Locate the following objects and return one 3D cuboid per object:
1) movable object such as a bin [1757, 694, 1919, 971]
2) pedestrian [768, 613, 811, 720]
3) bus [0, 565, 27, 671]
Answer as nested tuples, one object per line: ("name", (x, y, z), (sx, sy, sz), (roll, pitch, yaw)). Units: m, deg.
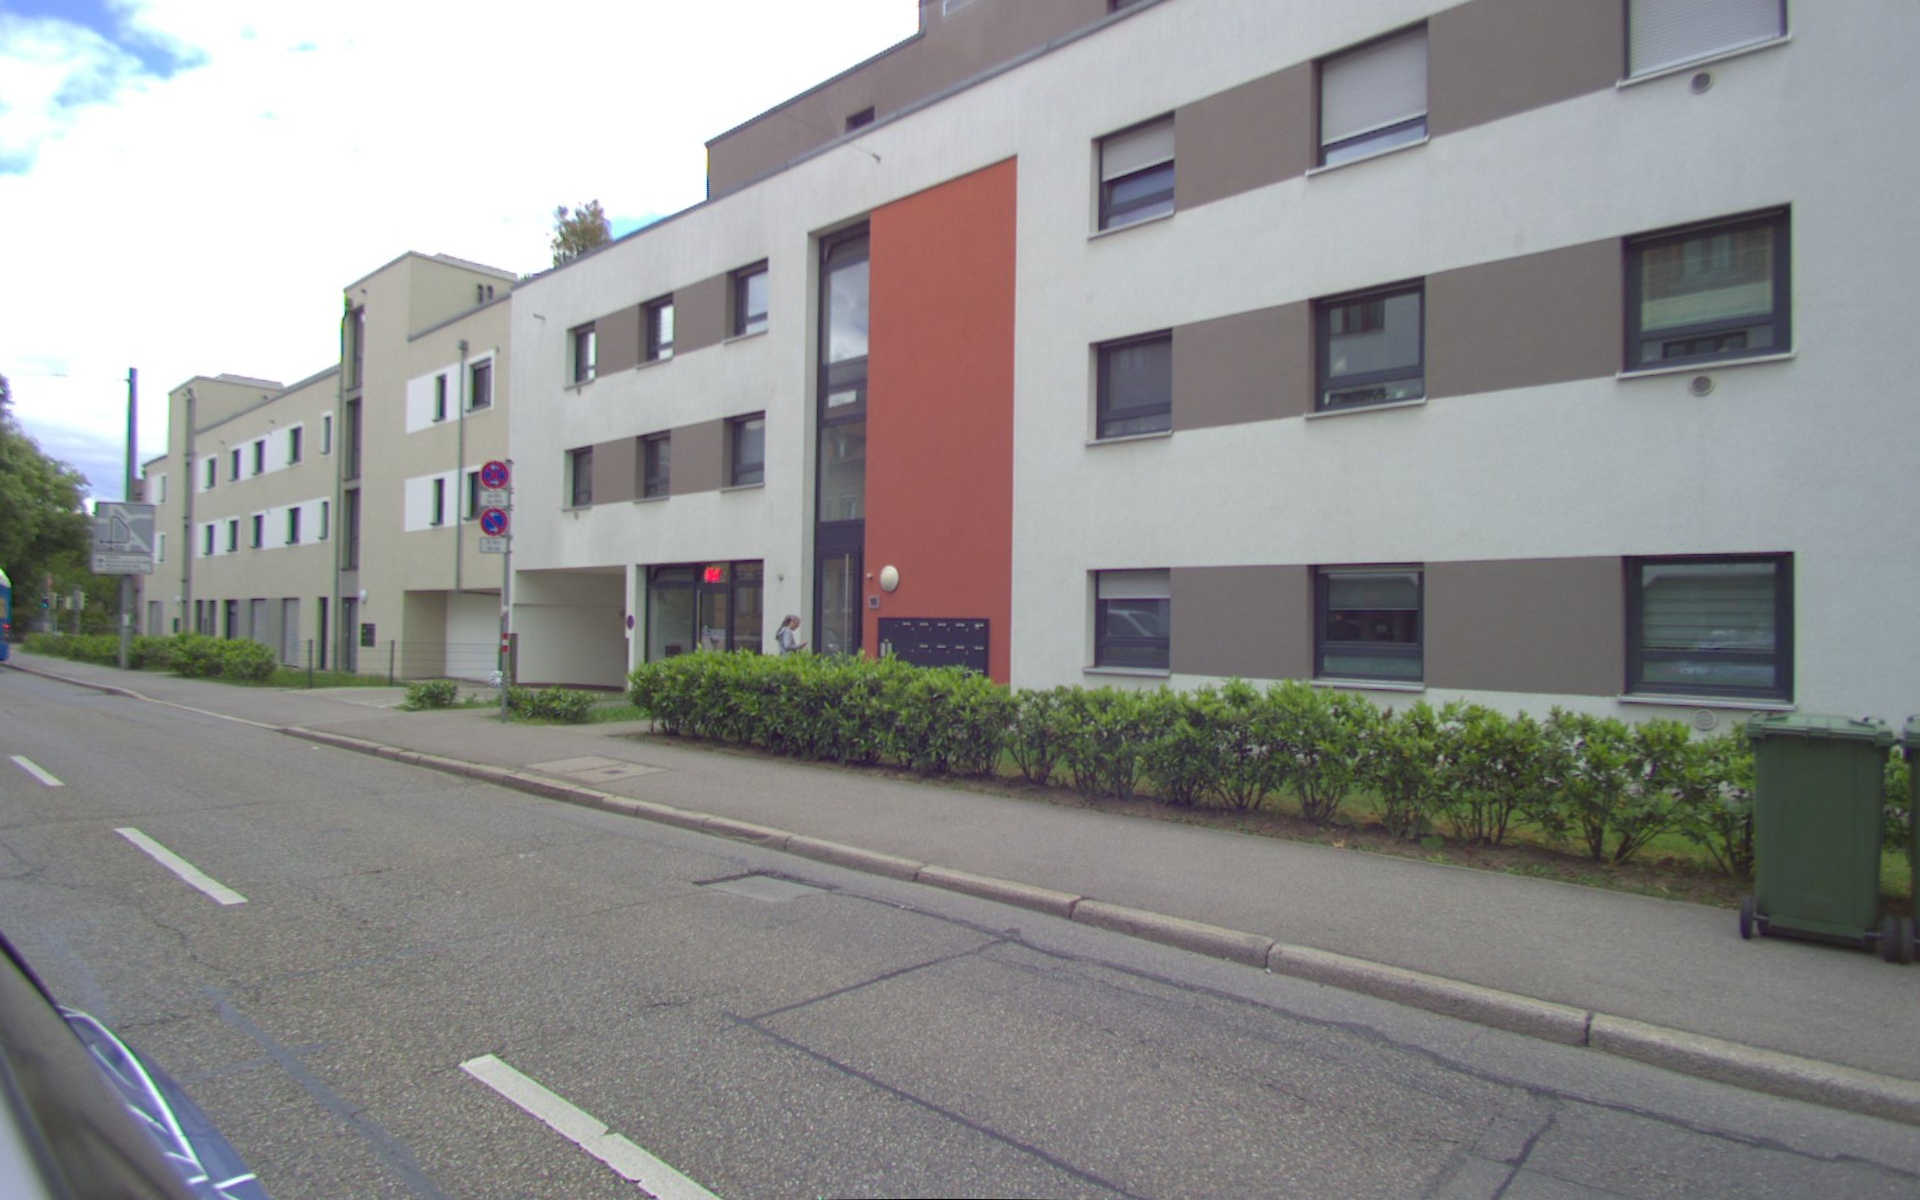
("movable object such as a bin", (4.236, 1.028, 4.702), (0.791, 1.097, 0.886), (-1, -2, 37))
("pedestrian", (-2.689, 1.031, 15.950), (0.511, 1.655, 0.642), (1, -2, -23))
("bus", (-34.896, 0.617, 34.656), (12.002, 3.299, 2.911), (-1, -4, 41))
